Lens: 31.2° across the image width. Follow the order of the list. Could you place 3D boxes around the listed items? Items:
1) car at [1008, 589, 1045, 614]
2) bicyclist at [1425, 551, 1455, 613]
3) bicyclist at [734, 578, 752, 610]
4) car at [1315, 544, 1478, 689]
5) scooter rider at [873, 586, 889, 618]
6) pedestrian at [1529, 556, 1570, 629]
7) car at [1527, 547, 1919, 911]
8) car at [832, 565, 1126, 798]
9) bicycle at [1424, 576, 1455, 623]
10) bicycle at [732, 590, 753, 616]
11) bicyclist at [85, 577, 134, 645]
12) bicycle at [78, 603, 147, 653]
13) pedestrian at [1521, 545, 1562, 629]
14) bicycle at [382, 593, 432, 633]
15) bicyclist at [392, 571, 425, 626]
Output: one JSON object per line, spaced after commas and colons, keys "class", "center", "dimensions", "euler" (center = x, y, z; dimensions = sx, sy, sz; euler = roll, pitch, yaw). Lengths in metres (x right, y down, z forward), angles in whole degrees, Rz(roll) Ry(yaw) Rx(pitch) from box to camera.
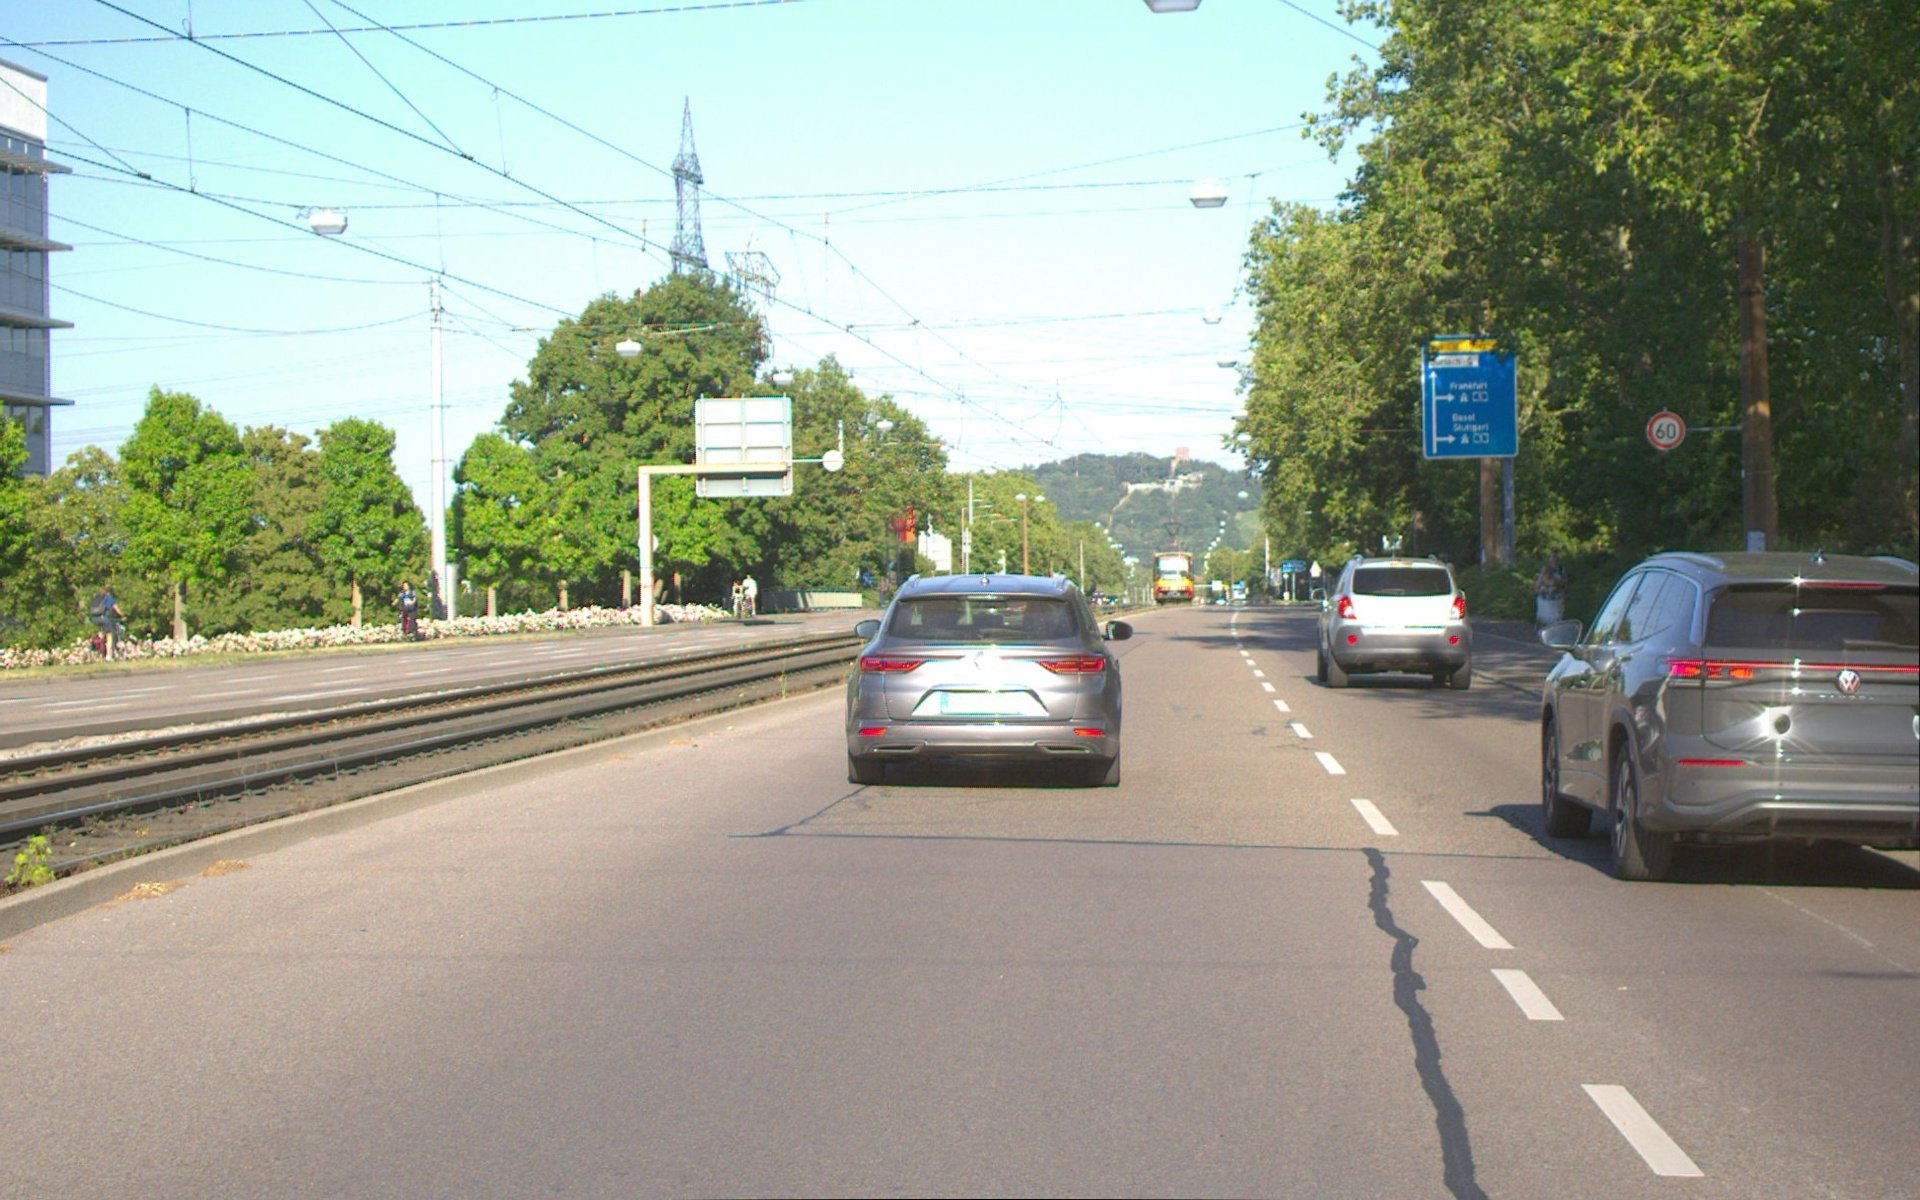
{"class": "car", "center": [4.254, 0.070, 219.728], "dimensions": [2.040, 1.498, 4.887], "euler": [-1, 1, 5]}
{"class": "bicyclist", "center": [11.767, -0.452, 84.320], "dimensions": [0.685, 1.503, 0.890], "euler": [0, 1, 5]}
{"class": "bicyclist", "center": [-9.343, -0.261, 147.939], "dimensions": [0.625, 1.369, 0.880], "euler": [2, 1, 5]}
{"class": "car", "center": [5.753, 0.187, 45.708], "dimensions": [1.883, 1.789, 3.999], "euler": [2, 1, 4]}
{"class": "scooter rider", "center": [-4.637, 0.125, 201.842], "dimensions": [0.682, 1.842, 1.000], "euler": [-1, 0, 13]}
{"class": "pedestrian", "center": [12.049, -0.161, 70.314], "dimensions": [0.723, 1.475, 0.722], "euler": [-1, 0, 4]}
{"class": "car", "center": [4.179, 0.567, 18.009], "dimensions": [1.844, 1.655, 4.439], "euler": [1, 1, 2]}
{"class": "car", "center": [0.233, 0.504, 24.613], "dimensions": [1.866, 1.462, 4.665], "euler": [1, 1, 3]}
{"class": "bicycle", "center": [11.760, -0.021, 84.427], "dimensions": [0.622, 1.116, 1.813], "euler": [-1, 0, 5]}
{"class": "bicycle", "center": [-9.350, 0.123, 147.930], "dimensions": [0.625, 1.055, 1.703], "euler": [2, 1, 5]}
{"class": "bicyclist", "center": [-19.395, 0.245, 78.380], "dimensions": [0.705, 1.507, 0.970], "euler": [2, 1, 12]}
{"class": "bicycle", "center": [-19.364, 0.634, 78.558], "dimensions": [0.705, 1.069, 2.026], "euler": [2, 1, 12]}
{"class": "pedestrian", "center": [12.089, -0.272, 71.505], "dimensions": [0.722, 1.702, 0.813], "euler": [-1, 0, 4]}
{"class": "bicycle", "center": [-16.318, 0.377, 101.503], "dimensions": [0.661, 1.147, 2.020], "euler": [2, 1, 14]}
{"class": "bicyclist", "center": [-16.285, -0.044, 101.582], "dimensions": [0.661, 1.618, 0.800], "euler": [2, 1, 14]}
